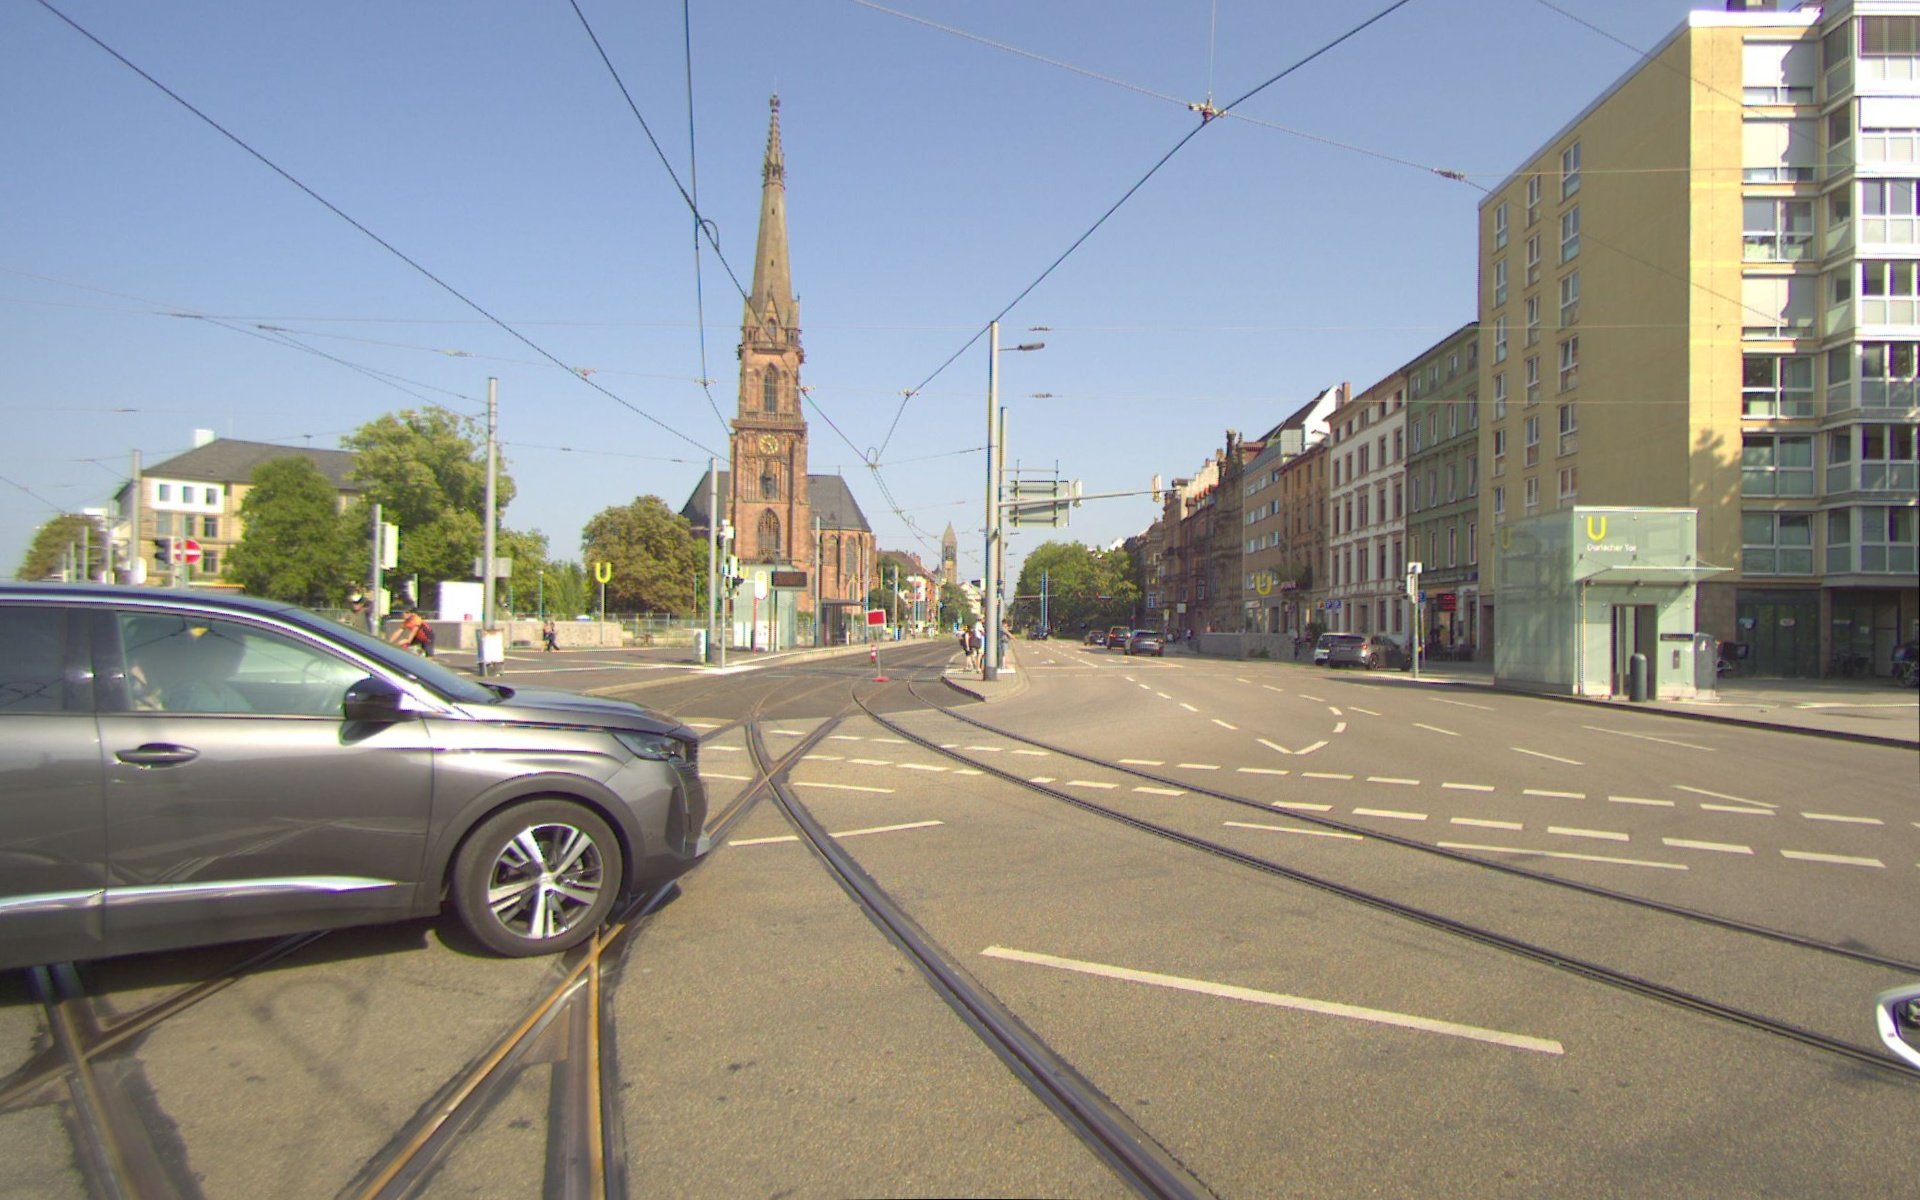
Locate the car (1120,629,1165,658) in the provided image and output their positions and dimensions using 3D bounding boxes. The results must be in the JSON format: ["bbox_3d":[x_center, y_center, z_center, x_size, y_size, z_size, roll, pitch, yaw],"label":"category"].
[{"bbox_3d":[10.142,2.402,56.082,1.833,1.443,4.359,2,-1,3],"label":"car"}]

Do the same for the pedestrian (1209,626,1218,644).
[{"bbox_3d":[26.390,3.615,104.562,0.708,1.811,0.856,1,-1,4],"label":"pedestrian"}]

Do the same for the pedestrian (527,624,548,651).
[{"bbox_3d":[-20.148,1.783,47.876,0.763,1.309,0.551,2,-2,-44],"label":"pedestrian"}]

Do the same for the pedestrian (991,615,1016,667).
[{"bbox_3d":[1.464,1.374,33.898,0.800,1.715,0.652,-2,-1,3],"label":"pedestrian"}]

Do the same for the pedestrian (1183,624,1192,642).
[{"bbox_3d":[22.398,3.229,99.002,0.737,1.752,0.801,1,-1,-1],"label":"pedestrian"}]

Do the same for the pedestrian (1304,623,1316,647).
[{"bbox_3d":[24.192,2.429,69.518,0.598,1.650,0.737,0,-1,3],"label":"pedestrian"}]

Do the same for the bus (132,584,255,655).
[{"bbox_3d":[-39.755,1.004,51.830,13.136,3.221,3.205,-1,-2,45],"label":"bus"}]

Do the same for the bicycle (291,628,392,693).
[{"bbox_3d":[-11.991,1.151,19.539,0.370,1.181,1.859,1,-1,18],"label":"bicycle"}]

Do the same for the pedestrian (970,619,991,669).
[{"bbox_3d":[0.666,1.431,32.774,0.622,1.618,0.468,-2,-1,1],"label":"pedestrian"}]

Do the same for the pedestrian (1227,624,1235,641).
[{"bbox_3d":[27.792,3.322,103.022,0.593,1.714,0.587,1,-1,-1],"label":"pedestrian"}]

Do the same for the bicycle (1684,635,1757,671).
[{"bbox_3d":[26.224,1.826,34.666,1.983,1.222,0.671,0,-1,2],"label":"bicycle"}]

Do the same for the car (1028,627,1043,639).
[{"bbox_3d":[9.960,4.302,132.536,1.711,1.547,3.874,0,-1,2],"label":"car"}]

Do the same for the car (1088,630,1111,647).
[{"bbox_3d":[13.339,3.667,96.197,1.833,1.443,4.359,2,-1,3],"label":"car"}]

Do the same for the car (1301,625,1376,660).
[{"bbox_3d":[16.878,1.903,44.755,3.499,1.483,1.605,3,-2,-39],"label":"car"}]

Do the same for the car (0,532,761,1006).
[{"bbox_3d":[-3.305,0.614,4.641,4.303,1.642,1.985,1,-1,-29],"label":"car"}]

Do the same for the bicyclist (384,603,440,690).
[{"bbox_3d":[-10.643,0.895,19.525,0.501,1.652,0.808,1,-1,18],"label":"bicyclist"}]

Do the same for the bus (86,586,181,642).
[{"bbox_3d":[-52.049,0.923,63.051,13.136,3.220,3.205,-1,-2,45],"label":"bus"}]

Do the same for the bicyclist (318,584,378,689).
[{"bbox_3d":[-11.970,0.699,19.659,0.569,2.001,0.808,1,-1,17],"label":"bicyclist"}]

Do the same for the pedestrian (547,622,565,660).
[{"bbox_3d":[-19.271,1.960,47.918,0.637,1.783,0.437,2,-1,-44],"label":"pedestrian"}]

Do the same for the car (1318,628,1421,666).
[{"bbox_3d":[16.475,1.878,40.322,4.368,1.442,1.829,2,-2,-37],"label":"car"}]

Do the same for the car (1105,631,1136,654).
[{"bbox_3d":[12.013,3.162,75.287,1.801,1.642,4.359,2,-1,3],"label":"car"}]

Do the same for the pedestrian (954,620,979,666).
[{"bbox_3d":[0.235,1.496,35.157,0.794,1.568,0.548,-2,-1,4],"label":"pedestrian"}]

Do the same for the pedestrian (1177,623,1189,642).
[{"bbox_3d":[21.412,3.102,96.380,0.910,1.856,0.801,1,-1,-1],"label":"pedestrian"}]

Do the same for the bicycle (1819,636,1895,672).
[{"bbox_3d":[31.070,1.869,34.824,1.983,1.199,0.671,0,-1,2],"label":"bicycle"}]

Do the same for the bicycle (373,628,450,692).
[{"bbox_3d":[-10.645,1.137,19.549,0.305,1.181,1.499,1,-1,18],"label":"bicycle"}]

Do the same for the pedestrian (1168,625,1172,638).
[{"bbox_3d":[21.393,3.195,102.134,0.271,1.291,0.448,1,-1,-4],"label":"pedestrian"}]

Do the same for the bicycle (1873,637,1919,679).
[{"bbox_3d":[28.830,1.746,30.242,0.514,1.251,2.301,1,-1,-2],"label":"bicycle"}]

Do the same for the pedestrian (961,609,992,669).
[{"bbox_3d":[0.525,1.211,31.284,0.818,1.811,0.729,-2,-1,10],"label":"pedestrian"}]

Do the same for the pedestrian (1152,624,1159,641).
[{"bbox_3d":[20.509,3.371,105.398,0.555,1.752,0.745,1,-1,-1],"label":"pedestrian"}]

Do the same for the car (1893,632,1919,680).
[{"bbox_3d":[30.346,1.701,29.783,1.628,1.460,4.196,0,-1,4],"label":"car"}]
